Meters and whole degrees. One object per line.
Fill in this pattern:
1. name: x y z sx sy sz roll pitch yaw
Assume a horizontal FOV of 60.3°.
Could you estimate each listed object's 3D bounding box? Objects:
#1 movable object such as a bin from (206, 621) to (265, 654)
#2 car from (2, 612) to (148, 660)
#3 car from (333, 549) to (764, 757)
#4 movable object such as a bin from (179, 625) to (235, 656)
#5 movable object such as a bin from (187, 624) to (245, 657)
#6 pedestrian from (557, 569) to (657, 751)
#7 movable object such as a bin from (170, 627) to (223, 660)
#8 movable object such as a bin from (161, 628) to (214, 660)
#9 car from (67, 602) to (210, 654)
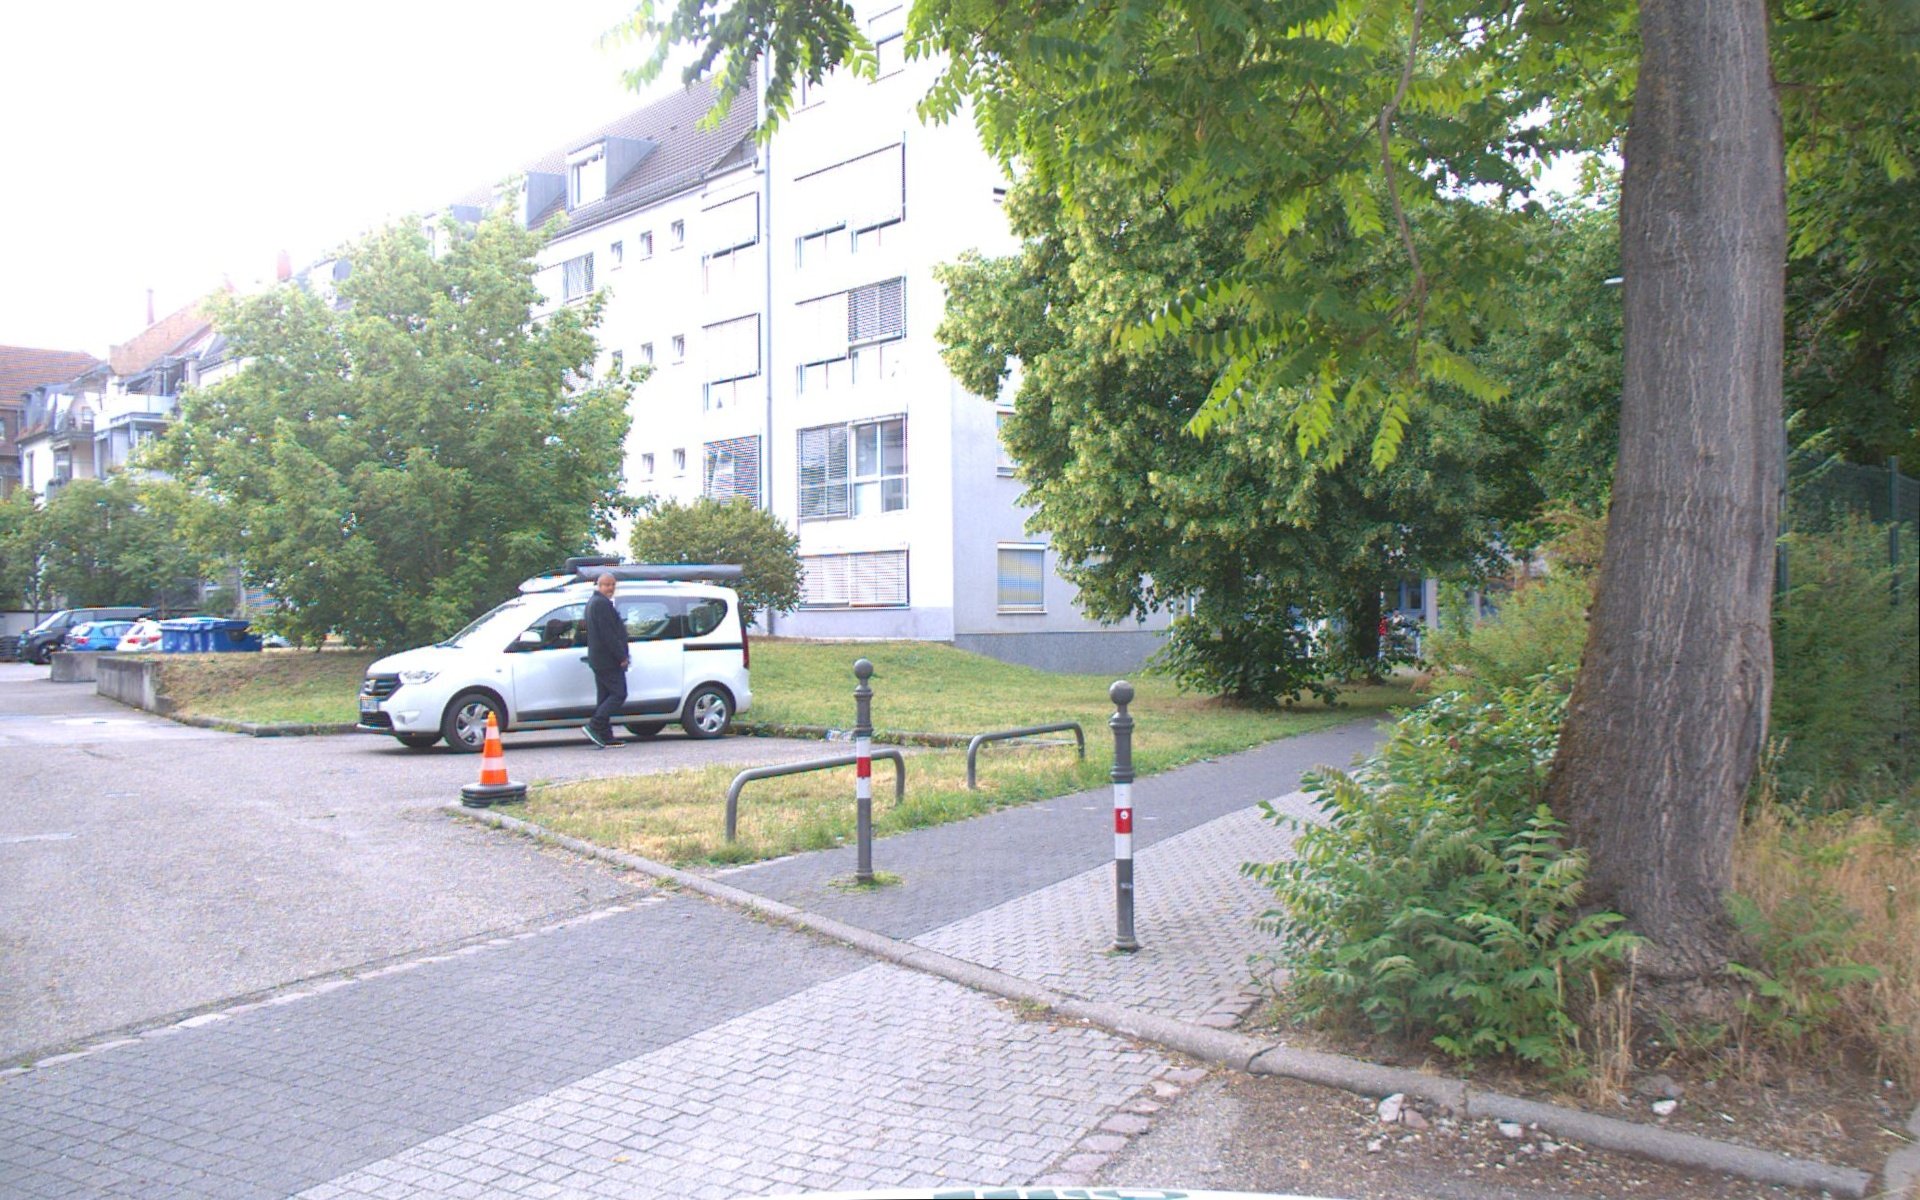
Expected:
1. movable object such as a bin: -14.638 0.753 33.398 0.957 0.648 0.900 0 -2 -35
2. car: -31.374 1.233 58.706 1.966 1.601 4.168 -1 0 43
3. car: -4.487 0.552 18.388 4.312 2.049 1.827 0 -2 -41
4. movable object such as a bin: -16.109 0.869 35.373 0.957 0.648 0.900 0 -2 -35
5. movable object such as a bin: -15.445 0.844 34.339 0.957 0.648 0.900 0 -2 -35
6. pedestrian: -3.689 0.620 17.290 0.749 1.840 0.688 0 -2 -40
7. movable object such as a bin: -16.739 0.952 36.265 0.957 0.691 0.801 0 -2 -35
8. movable object such as a bin: -17.311 0.986 37.047 0.957 0.691 0.860 0 -2 -35
9. car: -27.160 0.896 54.741 1.558 1.601 3.974 -1 0 43
